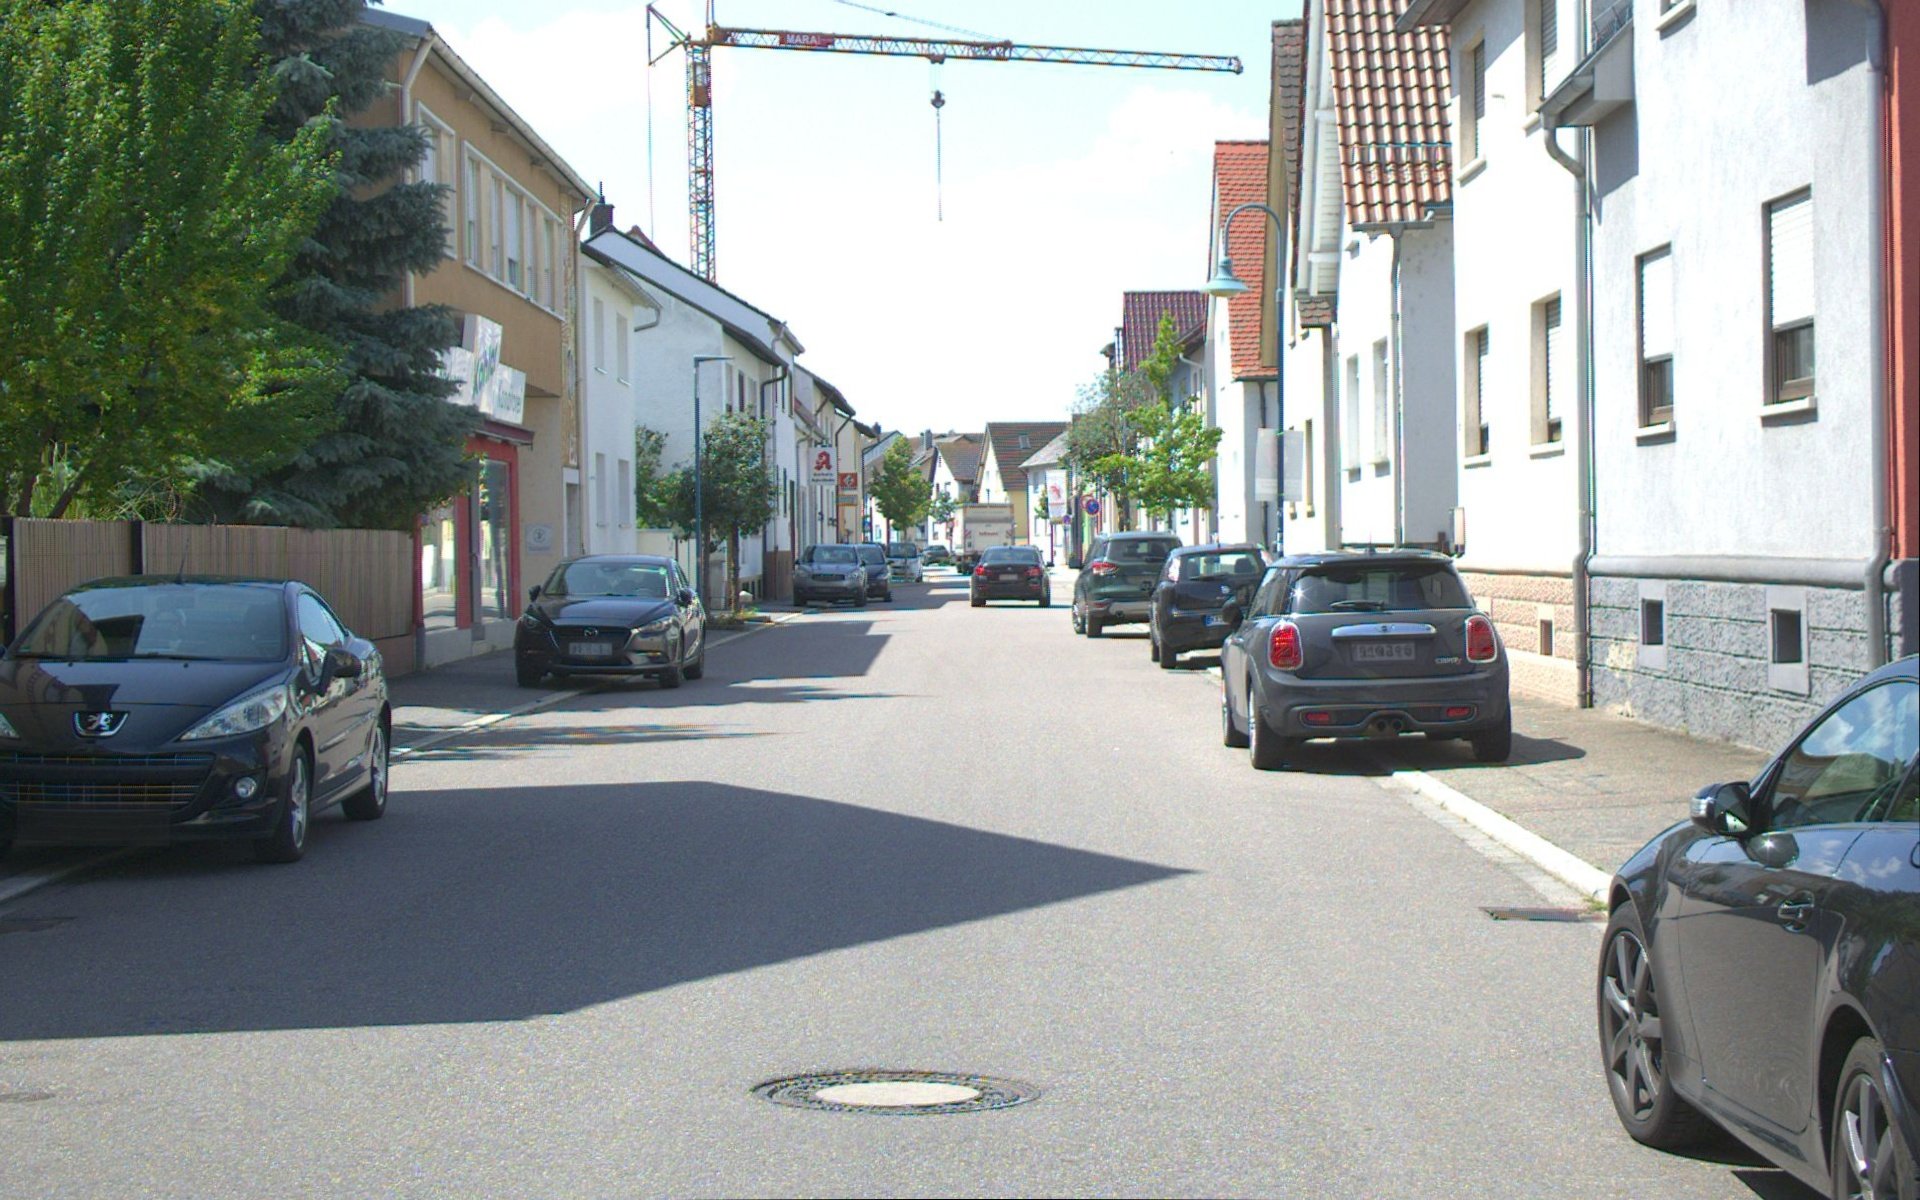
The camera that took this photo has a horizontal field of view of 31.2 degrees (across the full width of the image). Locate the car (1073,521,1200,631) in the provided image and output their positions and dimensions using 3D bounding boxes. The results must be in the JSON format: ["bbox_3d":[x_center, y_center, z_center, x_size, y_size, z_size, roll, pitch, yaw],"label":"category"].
[{"bbox_3d":[2.846,-0.419,56.284,1.728,1.711,4.276,-1,1,-1],"label":"car"}]

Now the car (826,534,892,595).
[{"bbox_3d":[-2.770,-1.002,94.962,1.653,1.603,4.061,-1,1,0],"label":"car"}]

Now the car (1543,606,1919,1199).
[{"bbox_3d":[2.476,0.694,7.392,1.816,1.271,4.147,0,1,1],"label":"car"}]

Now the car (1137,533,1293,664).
[{"bbox_3d":[3.188,-0.053,43.551,1.617,1.490,3.972,-3,1,0],"label":"car"}]

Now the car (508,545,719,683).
[{"bbox_3d":[-3.861,0.114,38.974,1.768,1.455,4.436,-1,1,2],"label":"car"}]

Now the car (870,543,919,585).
[{"bbox_3d":[-2.551,-1.417,134.238,1.723,1.550,4.172,1,1,1],"label":"car"}]

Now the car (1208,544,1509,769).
[{"bbox_3d":[2.698,0.336,23.973,1.688,1.417,3.657,-1,1,1],"label":"car"}]

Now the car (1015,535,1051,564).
[{"bbox_3d":[4.089,-2.845,194.153,1.782,1.558,4.337,-2,1,-1],"label":"car"}]

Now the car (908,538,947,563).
[{"bbox_3d":[-2.373,-3.633,250.766,1.820,1.747,4.230,-2,1,-15],"label":"car"}]

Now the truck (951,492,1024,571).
[{"bbox_3d":[1.336,-3.519,178.412,3.379,3.852,13.927,-2,1,-1],"label":"truck"}]

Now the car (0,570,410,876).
[{"bbox_3d":[-4.095,0.553,18.018,1.761,1.369,4.066,0,1,0],"label":"car"}]

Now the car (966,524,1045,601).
[{"bbox_3d":[1.084,-0.910,83.146,1.783,1.747,4.000,-2,1,0],"label":"car"}]

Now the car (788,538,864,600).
[{"bbox_3d":[-3.420,-0.823,88.221,1.758,1.519,4.289,-1,1,0],"label":"car"}]
